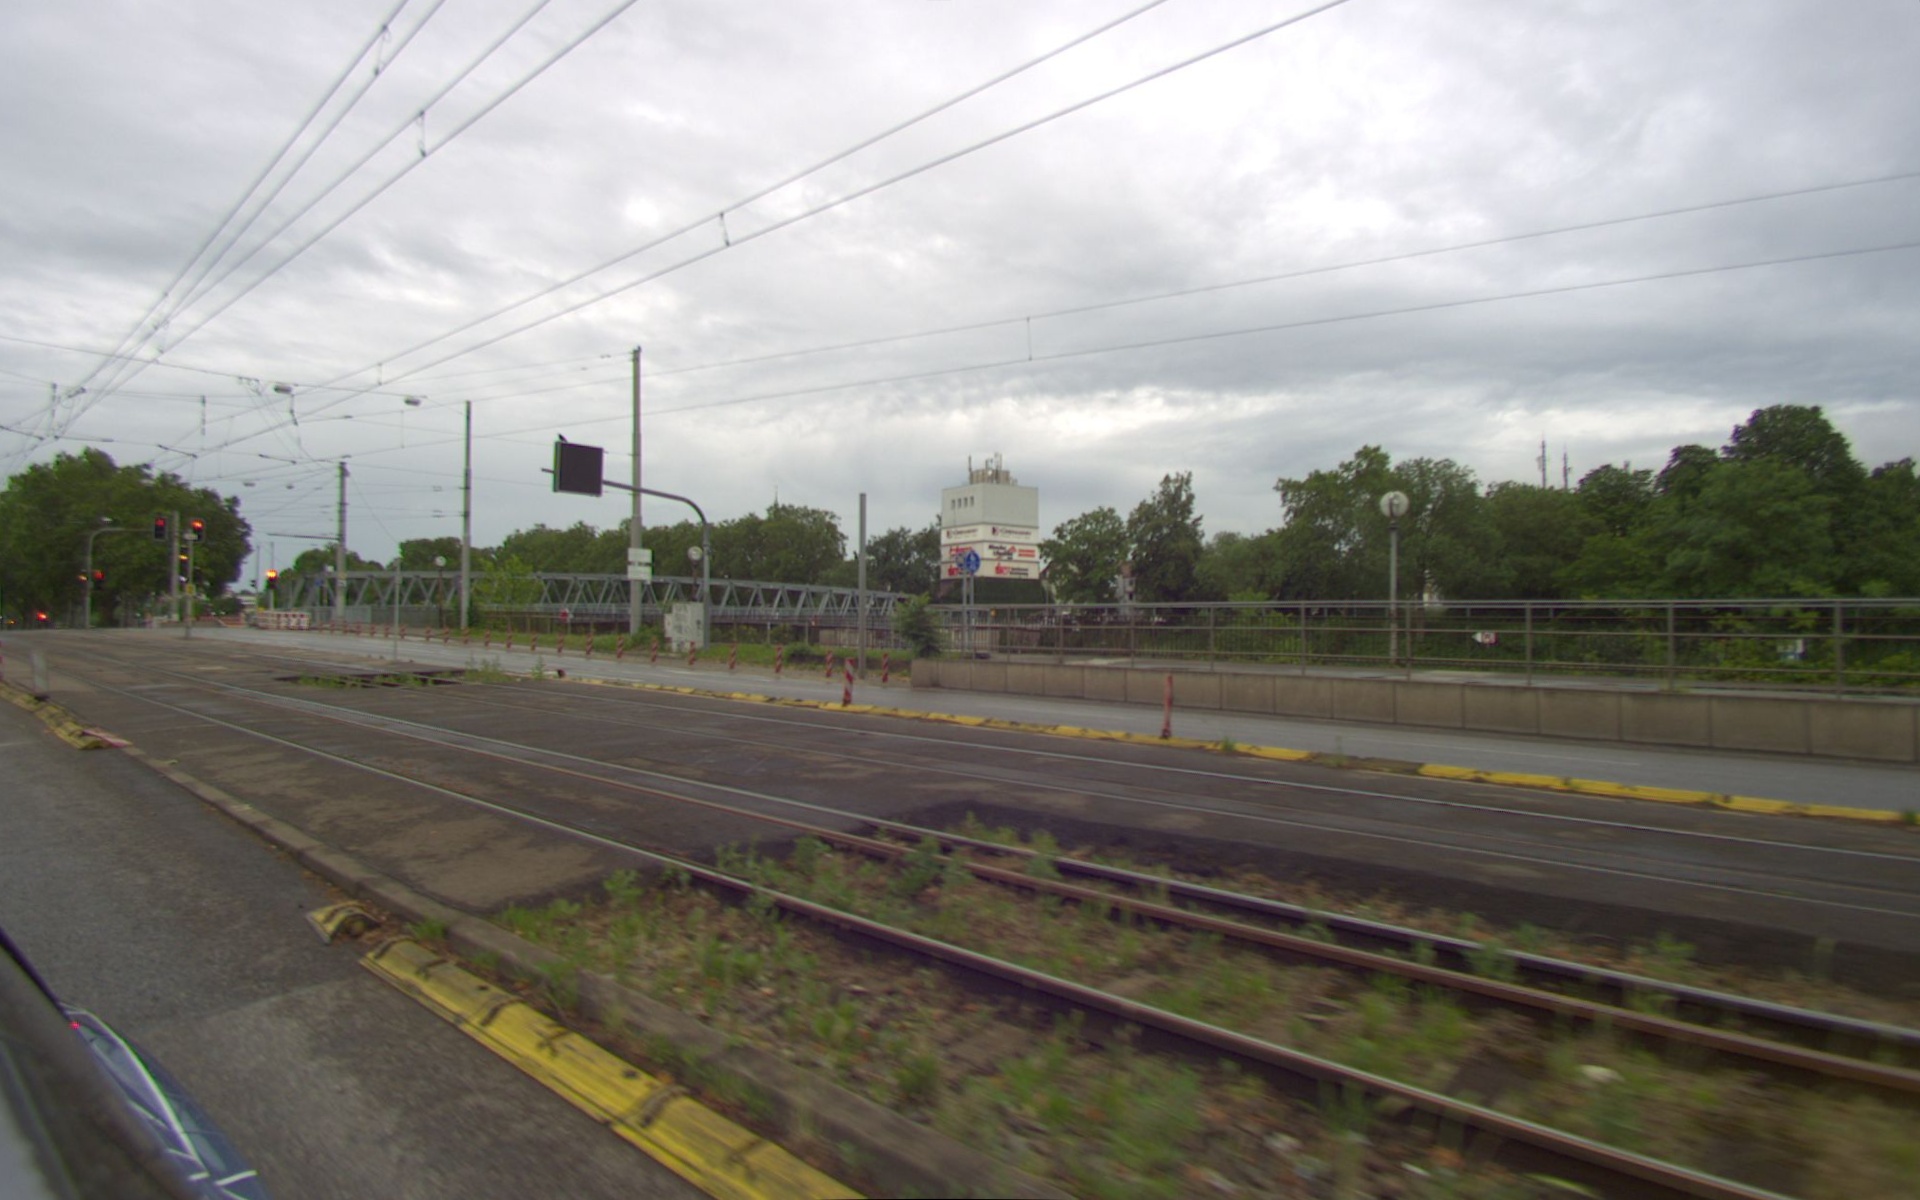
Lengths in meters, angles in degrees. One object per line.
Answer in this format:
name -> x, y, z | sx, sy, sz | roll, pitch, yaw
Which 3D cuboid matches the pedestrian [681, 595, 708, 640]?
pedestrian -> -10.172, 0.663, 38.726 | 0.618, 1.700, 0.756 | 0, -2, 41
